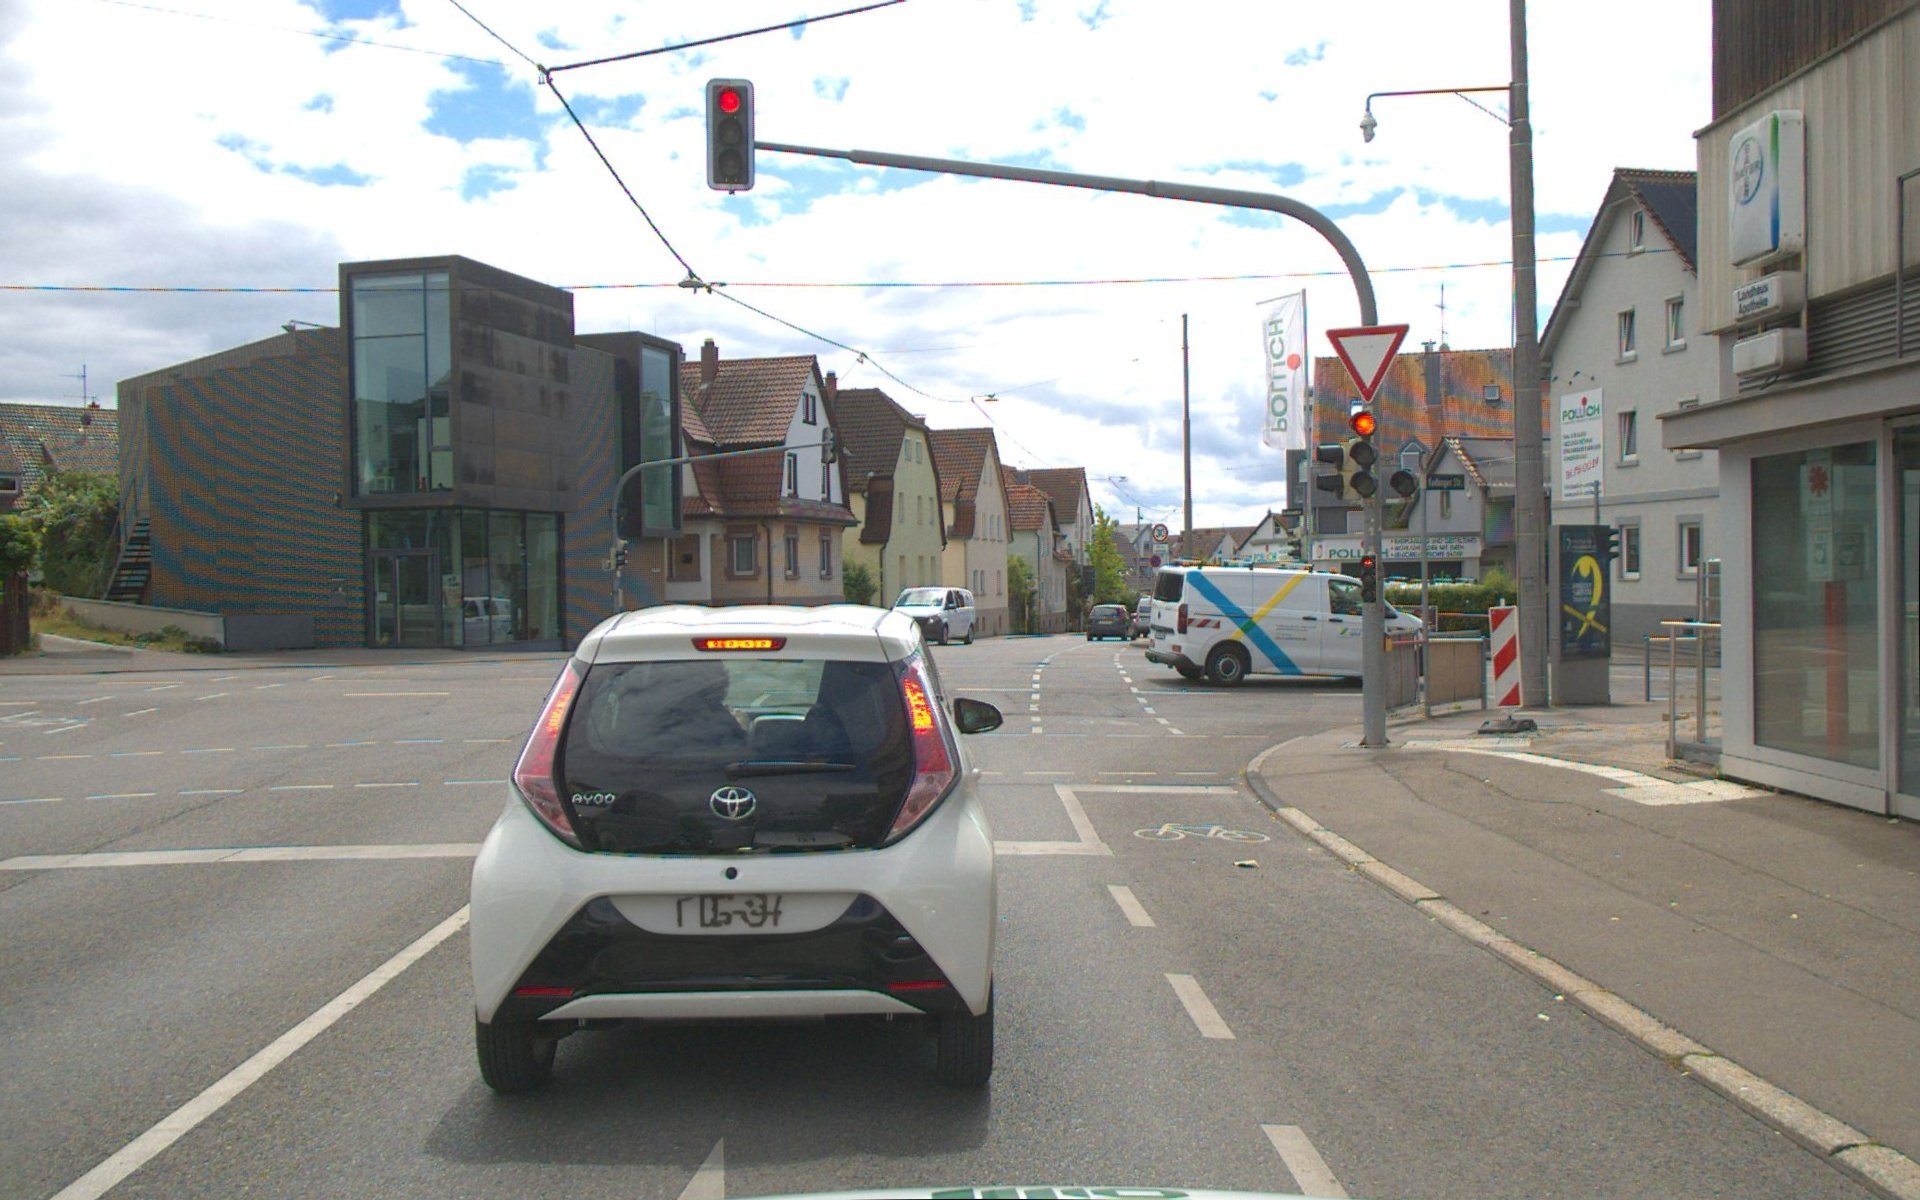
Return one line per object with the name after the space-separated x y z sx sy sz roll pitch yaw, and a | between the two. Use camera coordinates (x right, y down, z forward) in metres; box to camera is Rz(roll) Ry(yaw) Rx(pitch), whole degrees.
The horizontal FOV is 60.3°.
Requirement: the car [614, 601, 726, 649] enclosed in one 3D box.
-10.271 0.879 58.703 3.537 1.633 1.693 1 0 11 | car

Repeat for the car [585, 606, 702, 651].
-10.810 0.967 56.571 3.537 1.444 1.693 1 0 11 | car

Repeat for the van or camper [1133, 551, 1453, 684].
5.699 0.309 28.556 5.024 2.113 1.995 1 0 -10 | van or camper

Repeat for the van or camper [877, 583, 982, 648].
-0.908 0.487 53.700 2.070 1.959 5.289 1 0 14 | van or camper

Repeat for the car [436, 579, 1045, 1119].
-0.673 0.691 6.237 1.663 1.482 3.297 1 0 -3 | car

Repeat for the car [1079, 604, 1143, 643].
6.208 0.952 67.652 1.951 1.512 4.003 1 0 15 | car

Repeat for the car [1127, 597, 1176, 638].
9.186 0.800 79.163 1.951 1.881 4.076 1 0 12 | car
